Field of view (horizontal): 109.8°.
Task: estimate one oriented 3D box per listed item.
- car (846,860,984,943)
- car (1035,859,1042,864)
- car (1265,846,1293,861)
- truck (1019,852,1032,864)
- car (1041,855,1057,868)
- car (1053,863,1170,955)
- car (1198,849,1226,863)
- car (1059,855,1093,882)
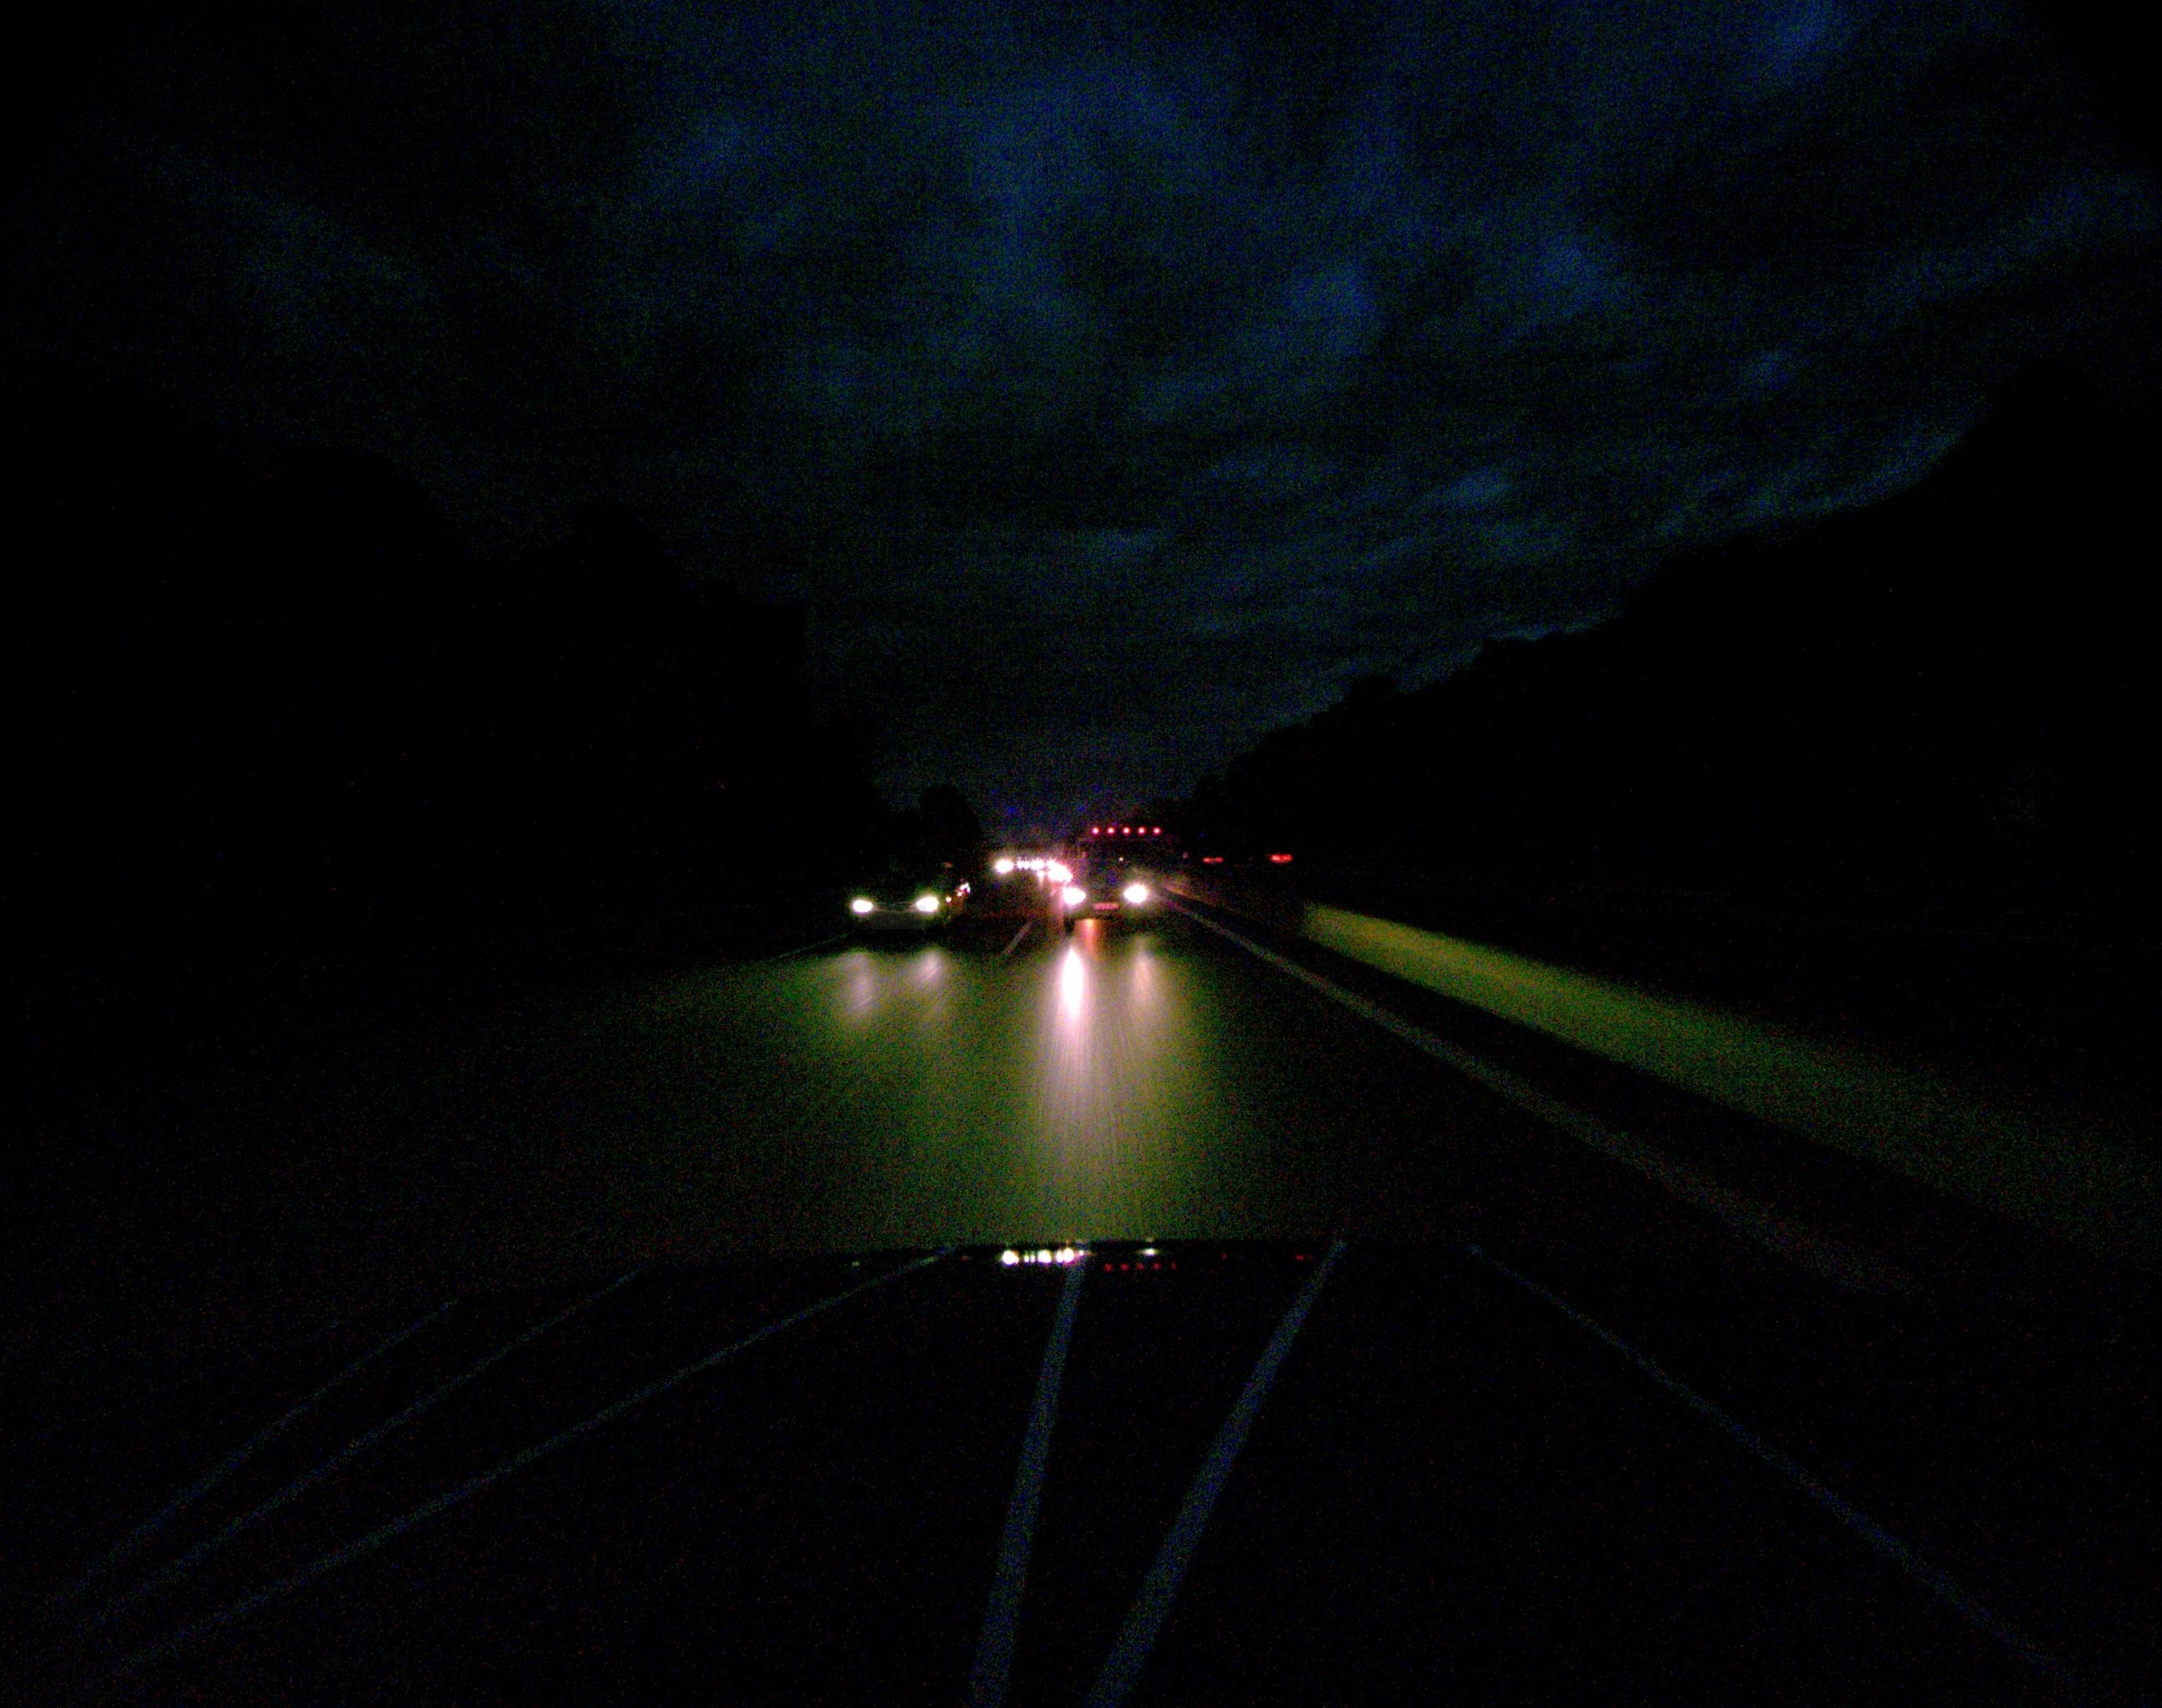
[{"bbox_3d":[-3.647,0.961,17.749,1.914,1.528,5.231,-1,1,2],"label":"car"},{"bbox_3d":[-14.630,2.563,259.677,1.821,1.372,4.195,-2,0,-9],"label":"car"},{"bbox_3d":[21.742,-0.056,83.479,1.847,1.455,4.000,-3,0,-1],"label":"car"},{"bbox_3d":[-19.327,1.328,263.674,3.148,3.986,10.537,-1,-1,-10],"label":"truck"},{"bbox_3d":[-4.101,0.971,96.902,1.999,1.539,3.999,-1,-1,-4],"label":"car"},{"bbox_3d":[0.553,0.926,14.700,1.879,1.435,4.451,-1,0,1],"label":"car"},{"bbox_3d":[14.714,0.252,85.462,1.848,1.455,4.774,-3,0,-6],"label":"car"},{"bbox_3d":[-0.249,0.797,43.878,1.813,1.457,5.132,0,0,1],"label":"car"}]
